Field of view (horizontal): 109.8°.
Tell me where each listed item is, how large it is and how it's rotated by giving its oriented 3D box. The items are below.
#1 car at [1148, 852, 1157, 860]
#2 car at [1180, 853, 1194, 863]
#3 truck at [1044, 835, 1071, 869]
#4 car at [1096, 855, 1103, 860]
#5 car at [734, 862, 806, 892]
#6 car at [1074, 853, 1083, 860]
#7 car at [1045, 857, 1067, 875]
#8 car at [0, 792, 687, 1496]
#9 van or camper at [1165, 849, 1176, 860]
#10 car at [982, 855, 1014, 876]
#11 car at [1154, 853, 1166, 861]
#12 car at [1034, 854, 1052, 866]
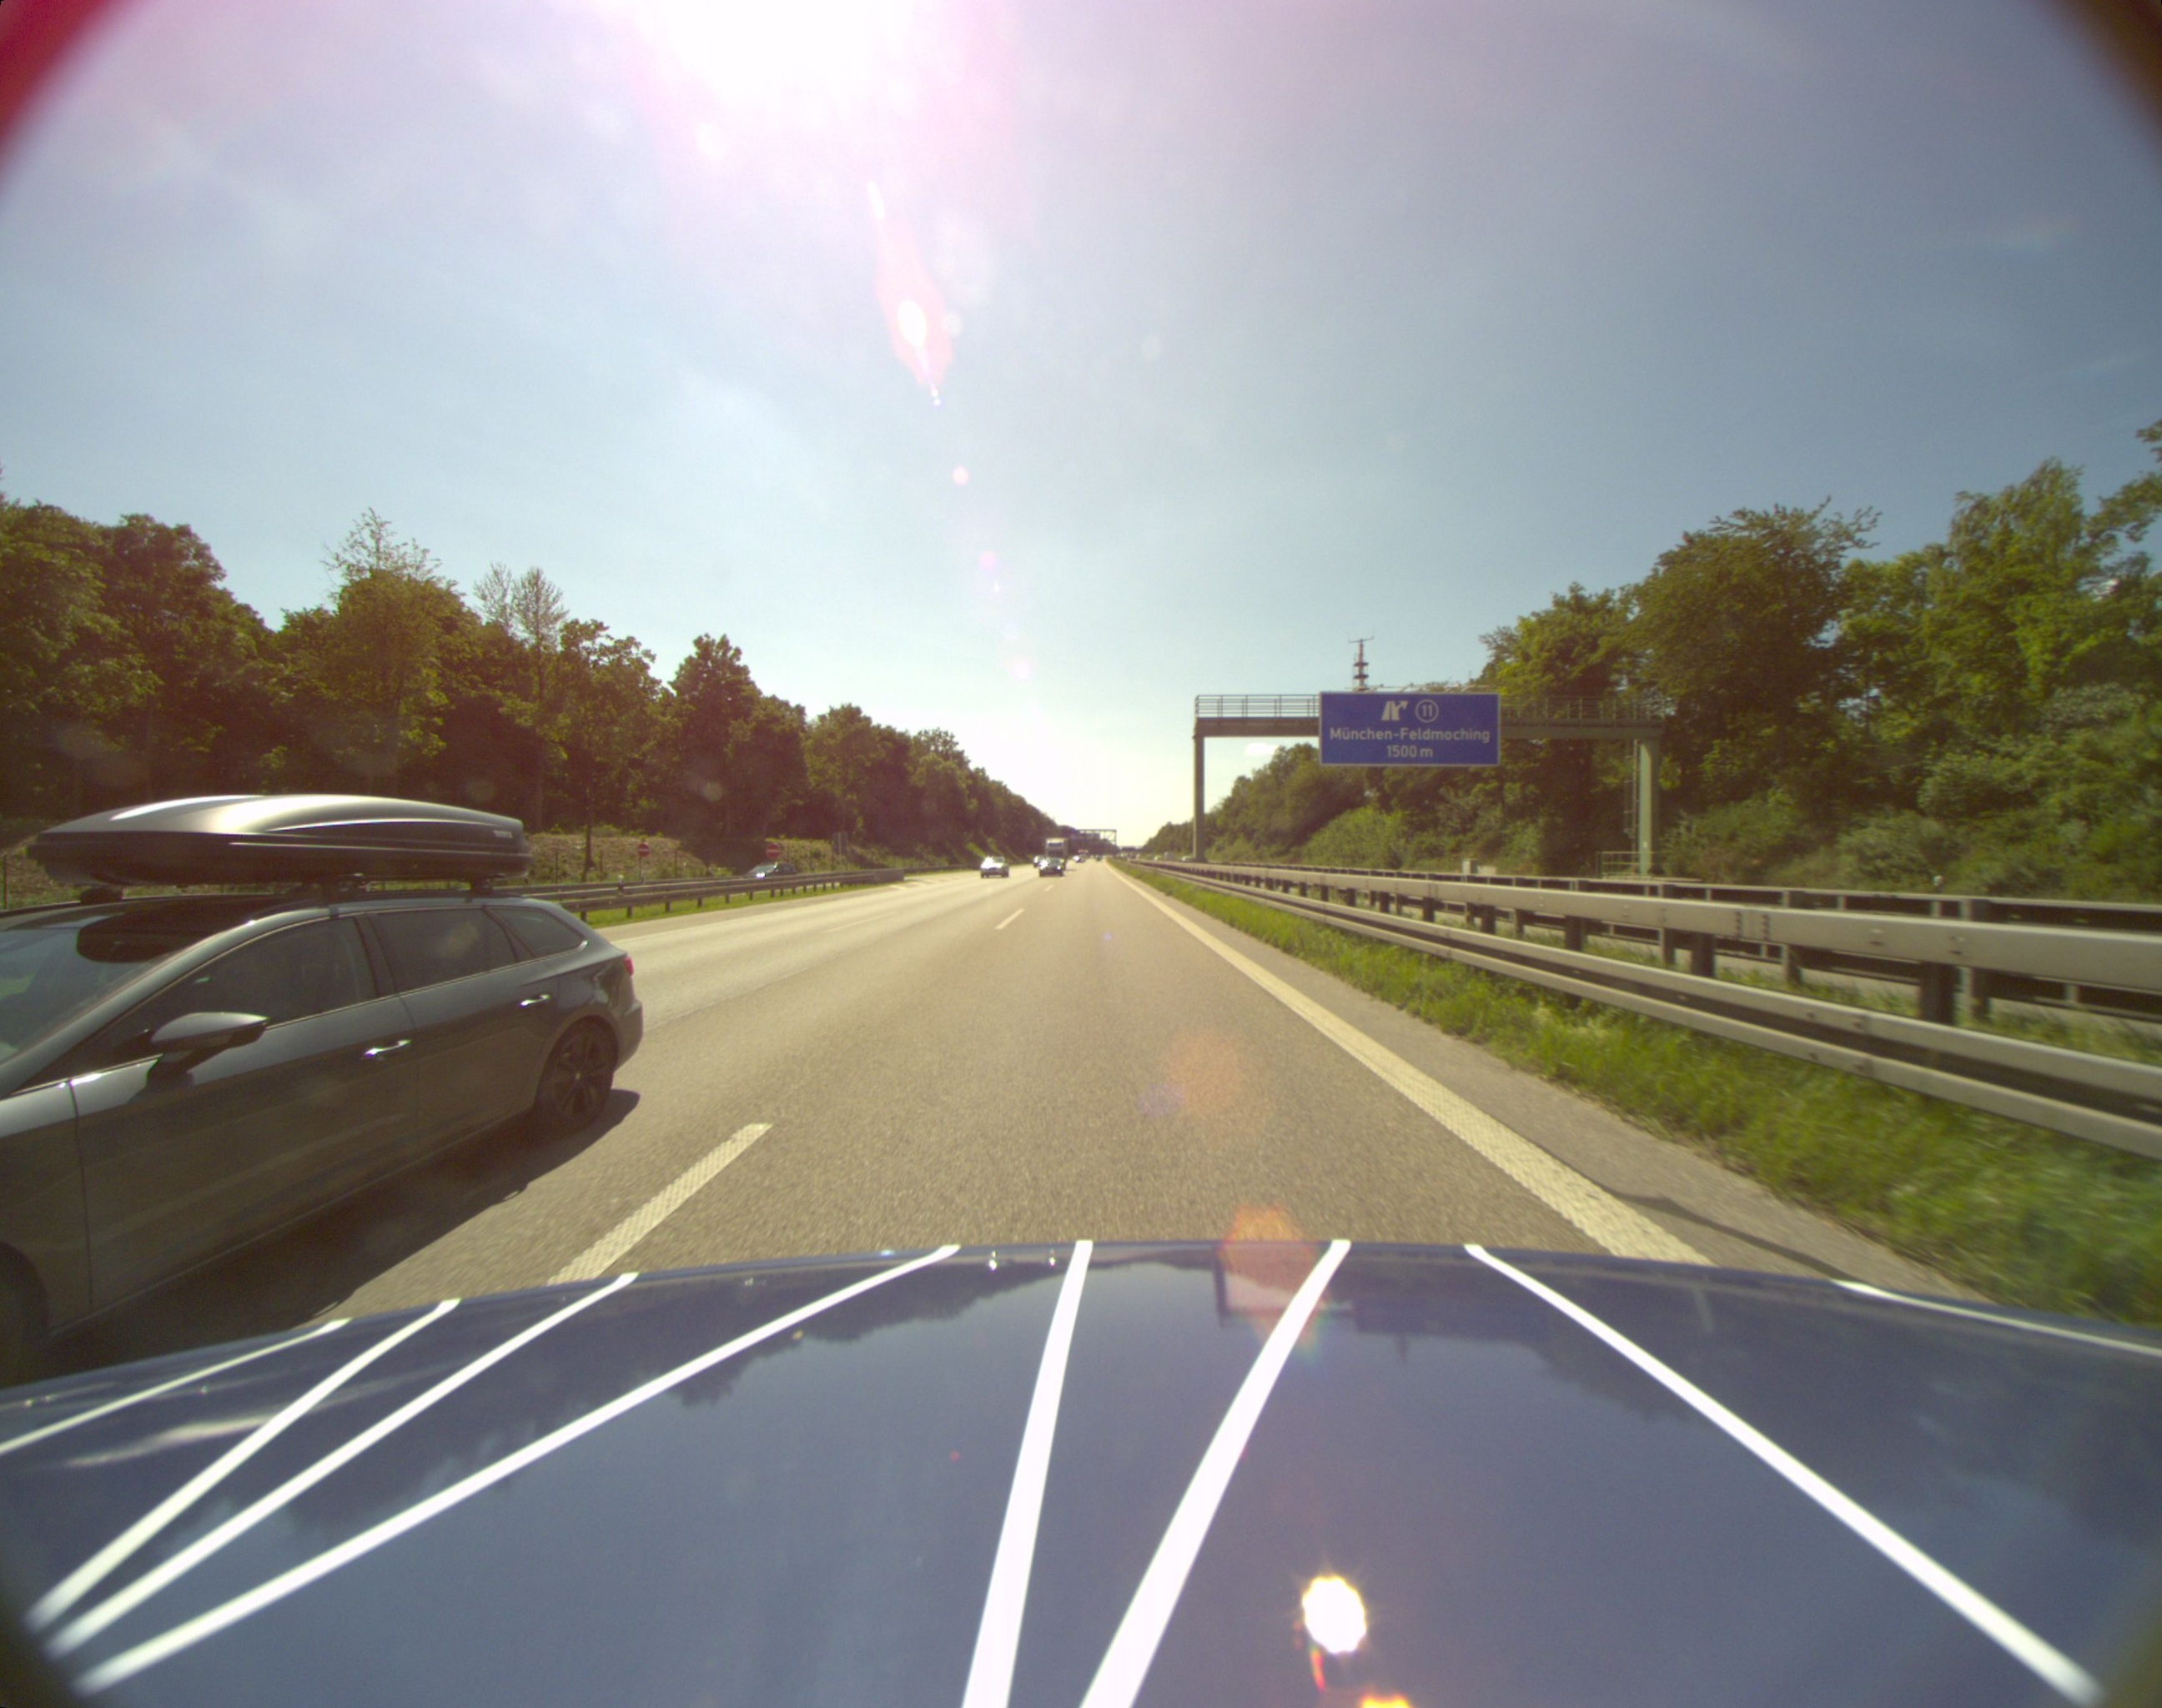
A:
[{"bbox_3d":[18.282,0.502,194.765,1.750,1.819,5.169,1,0,1],"label":"car"},{"bbox_3d":[15.556,0.559,111.503,1.669,1.455,3.883,2,0,2],"label":"car"},{"bbox_3d":[-2.556,-0.198,84.753,2.676,3.660,6.484,0,0,2],"label":"truck"},{"bbox_3d":[4.648,0.913,187.167,1.591,1.291,3.383,0,0,2],"label":"car"},{"bbox_3d":[-18.396,1.321,45.130,1.767,1.559,4.262,-2,0,13],"label":"car"},{"bbox_3d":[-0.554,0.529,166.627,1.831,1.346,3.680,0,0,2],"label":"car"},{"bbox_3d":[-1.914,0.913,58.563,1.537,1.265,2.770,0,0,2],"label":"car"},{"bbox_3d":[-3.710,0.766,3.170,1.669,1.865,4.826,0,0,-1],"label":"car"},{"bbox_3d":[21.242,0.204,180.273,2.043,2.544,6.198,1,0,1],"label":"van or camper"},{"bbox_3d":[-6.479,0.858,59.728,1.848,1.559,4.036,-2,0,2],"label":"car"},{"bbox_3d":[16.086,0.643,155.006,1.883,1.601,5.310,1,0,1],"label":"car"},{"bbox_3d":[-5.426,0.861,108.602,1.924,1.659,4.687,-2,0,4],"label":"car"}]
